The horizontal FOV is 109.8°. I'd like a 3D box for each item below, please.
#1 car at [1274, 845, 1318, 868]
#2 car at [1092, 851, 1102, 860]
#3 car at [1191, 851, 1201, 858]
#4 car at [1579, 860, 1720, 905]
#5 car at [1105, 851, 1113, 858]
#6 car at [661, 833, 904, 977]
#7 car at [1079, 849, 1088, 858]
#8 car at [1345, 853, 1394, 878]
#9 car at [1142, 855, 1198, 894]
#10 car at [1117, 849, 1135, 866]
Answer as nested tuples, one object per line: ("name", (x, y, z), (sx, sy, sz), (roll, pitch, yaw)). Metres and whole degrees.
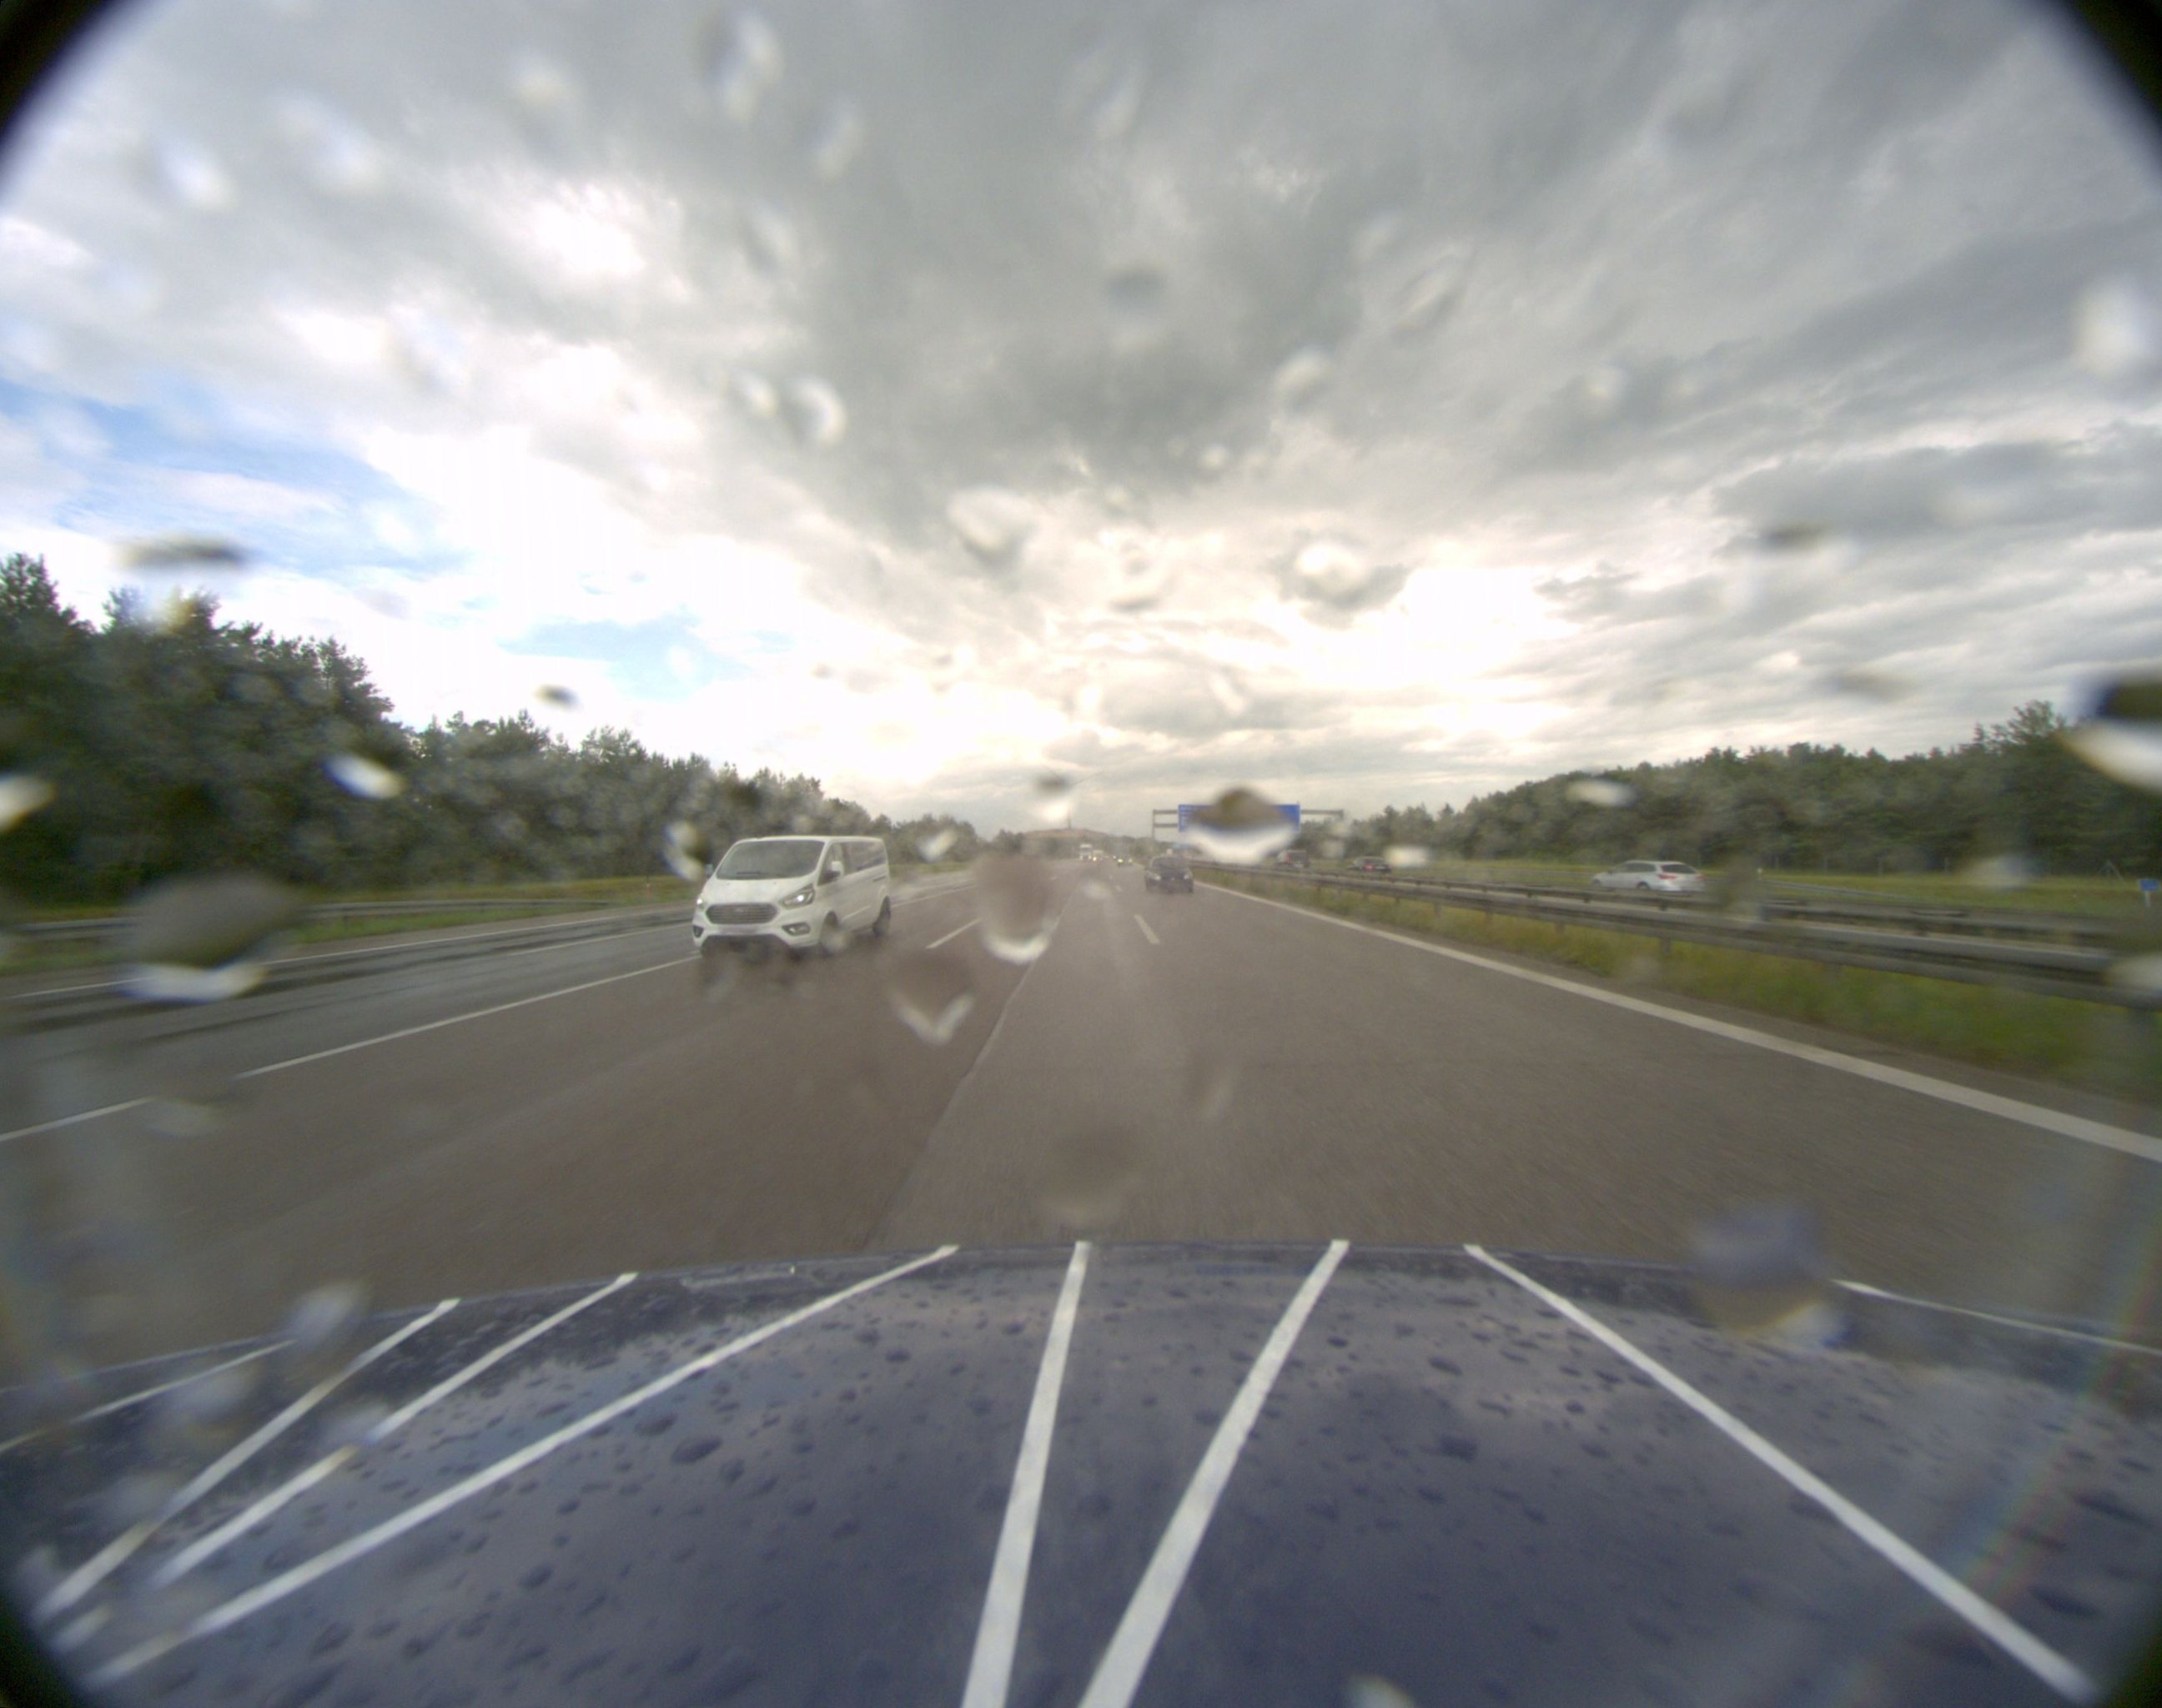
("car", (14.942, 0.131, 53.007), (1.998, 1.463, 4.116), (-2, 1, 3))
("car", (3.400, 0.324, 159.959), (1.999, 2.002, 3.999), (0, 1, -1))
("car", (24.295, 0.139, 160.721), (1.723, 1.565, 4.000), (0, 0, 1))
("car", (21.406, 1.015, 28.895), (1.795, 1.463, 4.819), (0, 0, 1))
("car", (8.075, 0.187, 217.259), (1.999, 2.002, 3.999), (0, 1, -1))
("car", (-4.914, 0.720, 13.628), (1.998, 2.002, 5.483), (-2, 0, 2))
("car", (0.614, -0.127, 178.233), (1.999, 2.002, 3.999), (0, 1, -1))
("car", (18.200, 0.684, 48.140), (1.641, 1.463, 4.401), (-1, 0, 3))
("car", (3.423, 0.749, 29.959), (1.809, 1.321, 4.431), (-2, 1, 2))
("car", (5.614, 0.420, 95.490), (1.998, 2.002, 4.000), (-2, 1, 1))
